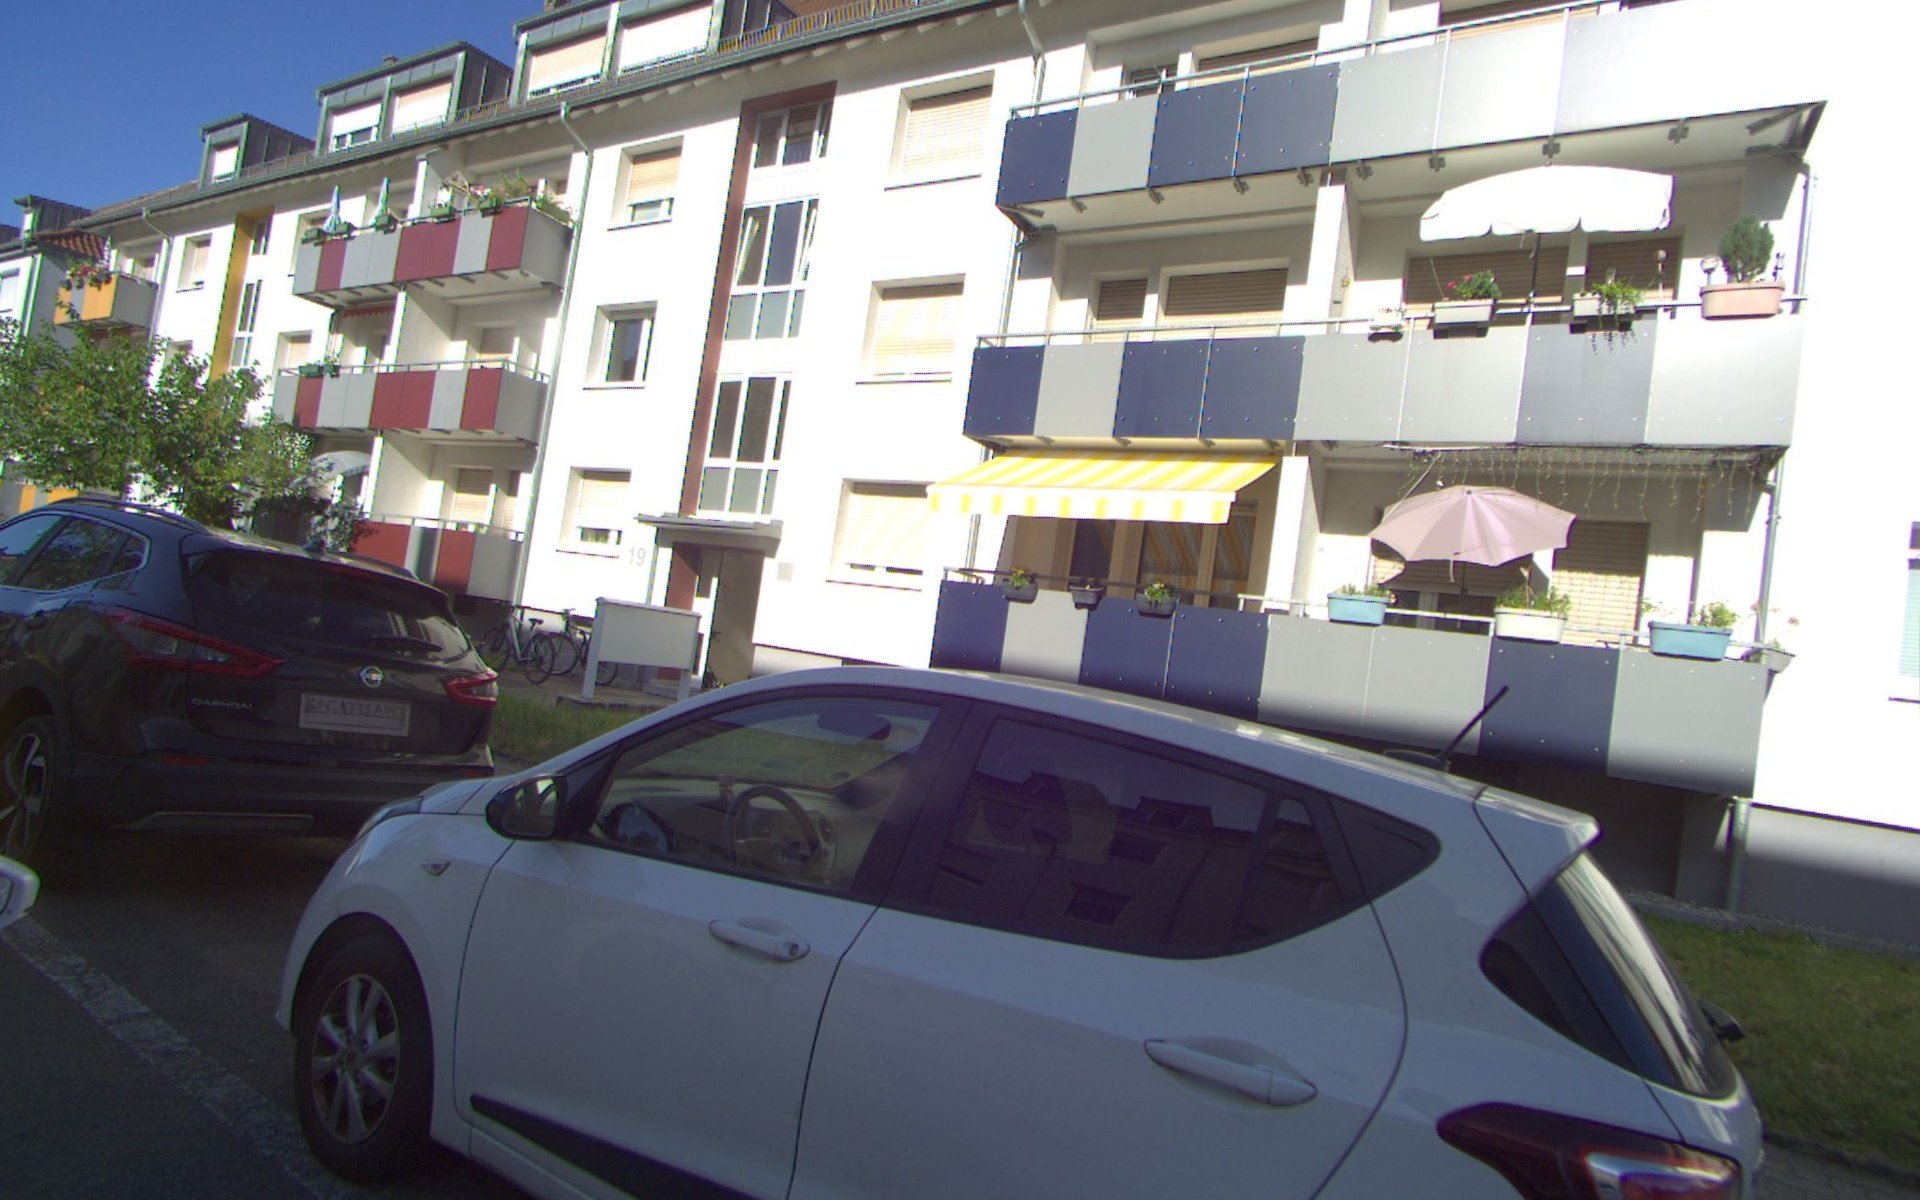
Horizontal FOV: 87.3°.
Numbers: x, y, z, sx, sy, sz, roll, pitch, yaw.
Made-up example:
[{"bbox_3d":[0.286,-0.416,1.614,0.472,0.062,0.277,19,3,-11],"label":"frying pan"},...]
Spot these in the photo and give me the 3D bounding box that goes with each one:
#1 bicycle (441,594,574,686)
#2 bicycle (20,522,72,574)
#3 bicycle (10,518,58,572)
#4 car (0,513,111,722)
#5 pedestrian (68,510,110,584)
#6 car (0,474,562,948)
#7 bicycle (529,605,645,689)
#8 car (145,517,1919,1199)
[{"bbox_3d":[-6.643,0.571,14.710,2.250,1.061,0.521,7,0,32],"label":"bicycle"},{"bbox_3d":[-20.743,-1.168,22.832,0.235,1.059,0.741,7,-1,33],"label":"bicycle"},{"bbox_3d":[-21.482,-1.276,23.324,1.278,1.099,0.404,7,-1,32],"label":"bicycle"},{"bbox_3d":[-8.671,-0.115,8.073,3.996,1.464,1.651,7,-5,34],"label":"car"},{"bbox_3d":[-18.742,-1.138,21.652,0.354,1.512,0.451,5,-2,32],"label":"pedestrian"},{"bbox_3d":[-4.327,0.280,5.321,4.280,1.596,1.727,7,-2,31],"label":"car"},{"bbox_3d":[-5.866,0.718,15.770,1.942,1.049,0.521,7,-1,32],"label":"bicycle"},{"bbox_3d":[-0.119,0.850,2.626,3.789,1.524,1.720,7,-6,31],"label":"car"}]
